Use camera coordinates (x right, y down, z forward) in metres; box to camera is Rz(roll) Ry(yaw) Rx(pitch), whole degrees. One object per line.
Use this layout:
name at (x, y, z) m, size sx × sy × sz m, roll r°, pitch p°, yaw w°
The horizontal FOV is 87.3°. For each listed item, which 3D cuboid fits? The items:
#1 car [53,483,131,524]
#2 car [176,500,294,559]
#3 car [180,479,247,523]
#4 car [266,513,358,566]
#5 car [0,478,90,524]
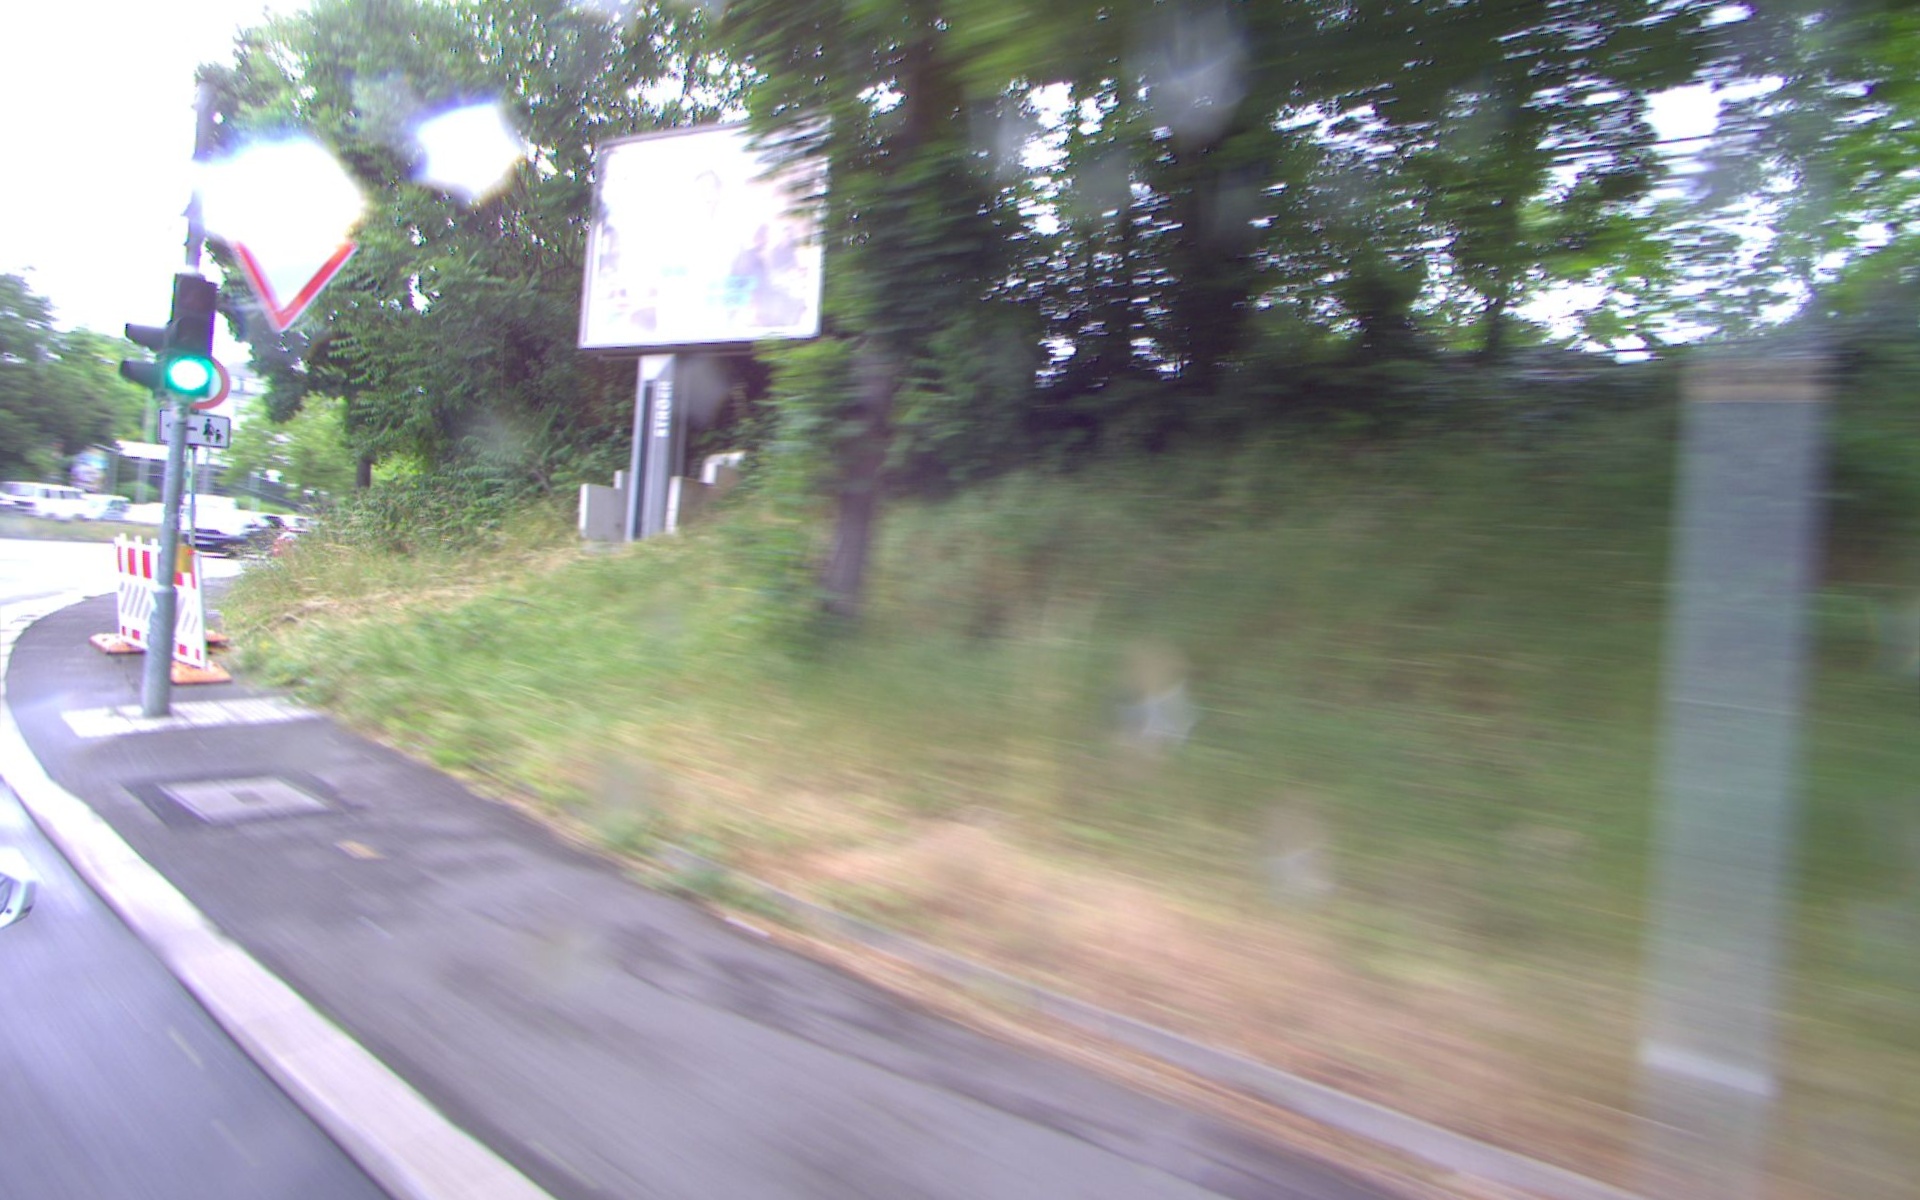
car at (-43.813, -4.836, 50.882) m, size 1.573 × 1.718 × 3.765 m, roll 5°, pitch 1°, yaw -18°
car at (-28.153, -2.683, 39.281) m, size 1.989 × 1.890 × 5.025 m, roll 5°, pitch 0°, yaw -15°
car at (-49.904, -6.583, 67.365) m, size 1.940 × 2.476 × 5.627 m, roll 4°, pitch 2°, yaw -20°
car at (-22.868, -2.086, 35.628) m, size 1.672 × 1.442 × 3.359 m, roll 6°, pitch -2°, yaw -15°
car at (-42.572, -4.554, 46.541) m, size 1.749 × 1.769 × 4.564 m, roll 5°, pitch 1°, yaw -18°
